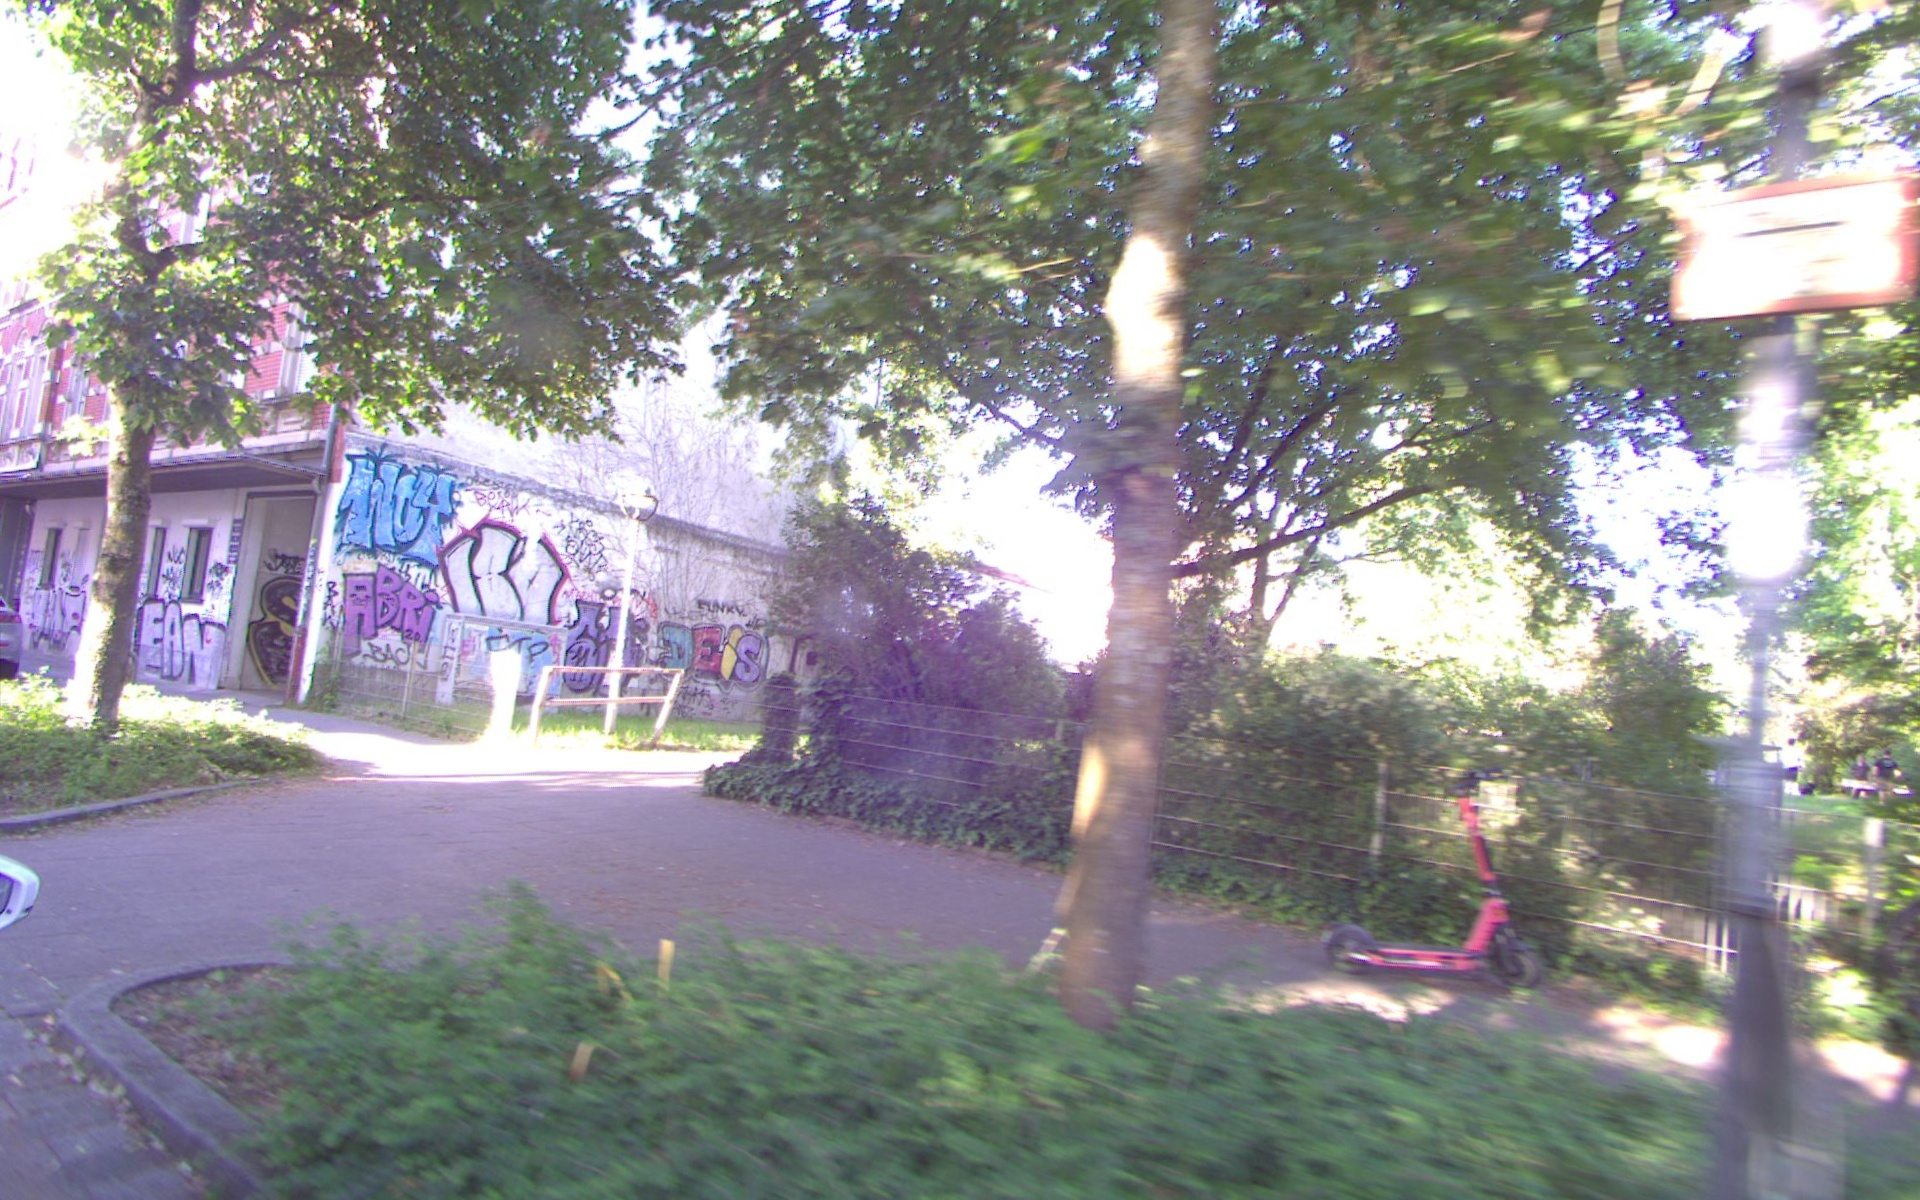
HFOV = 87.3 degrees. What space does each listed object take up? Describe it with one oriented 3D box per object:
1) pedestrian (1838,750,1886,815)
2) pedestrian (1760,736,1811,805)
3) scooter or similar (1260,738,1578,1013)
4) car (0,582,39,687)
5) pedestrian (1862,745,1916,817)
[{"bbox_3d":[30.629,6.179,34.172,0.736,2.035,0.912,6,-3,-9],"label":"pedestrian"},{"bbox_3d":[26.297,5.411,32.053,0.736,2.035,0.912,6,-3,-9],"label":"pedestrian"},{"bbox_3d":[2.522,1.494,5.628,1.445,1.276,0.547,5,-3,3],"label":"scooter or similar"},{"bbox_3d":[-16.744,0.388,16.161,4.329,1.578,1.725,2,-6,33],"label":"car"},{"bbox_3d":[28.416,5.517,30.778,0.736,2.035,0.912,6,-3,-9],"label":"pedestrian"}]
